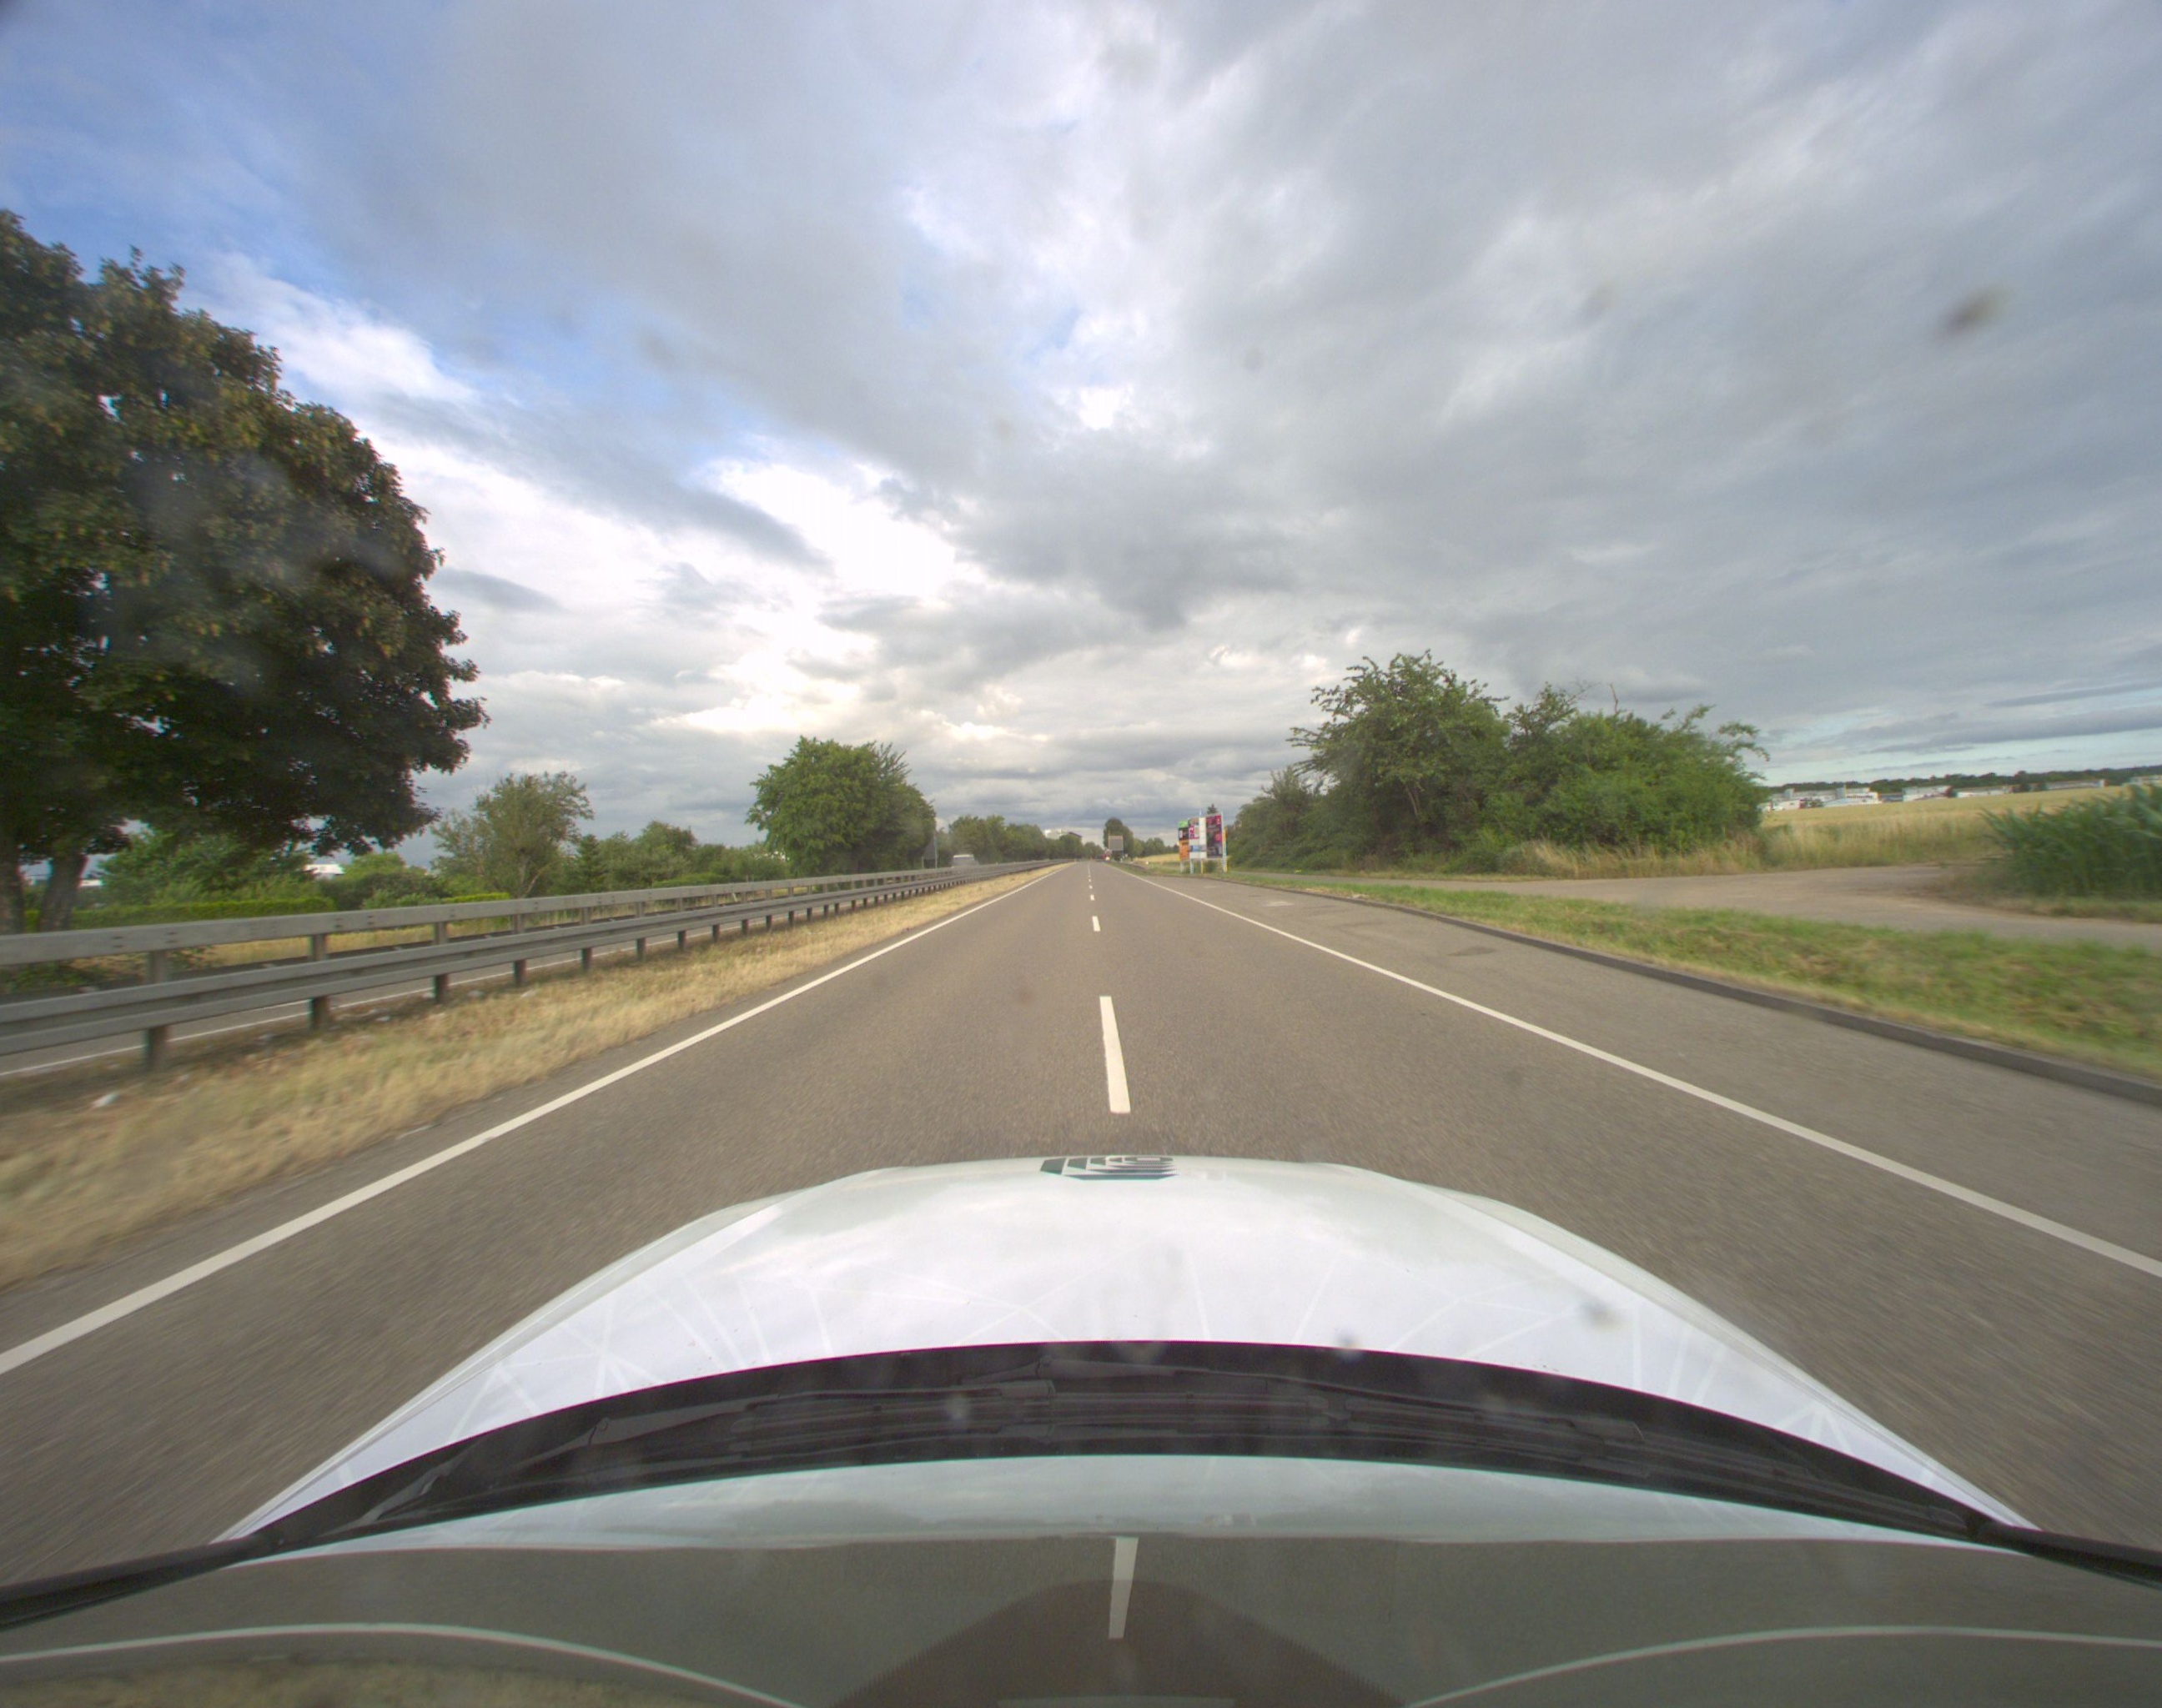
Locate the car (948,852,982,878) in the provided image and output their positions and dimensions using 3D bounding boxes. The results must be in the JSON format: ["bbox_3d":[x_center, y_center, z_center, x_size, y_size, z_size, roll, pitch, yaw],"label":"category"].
[{"bbox_3d":[-10.261,0.950,72.509,1.986,2.140,5.321,-3,0,2],"label":"car"}]
